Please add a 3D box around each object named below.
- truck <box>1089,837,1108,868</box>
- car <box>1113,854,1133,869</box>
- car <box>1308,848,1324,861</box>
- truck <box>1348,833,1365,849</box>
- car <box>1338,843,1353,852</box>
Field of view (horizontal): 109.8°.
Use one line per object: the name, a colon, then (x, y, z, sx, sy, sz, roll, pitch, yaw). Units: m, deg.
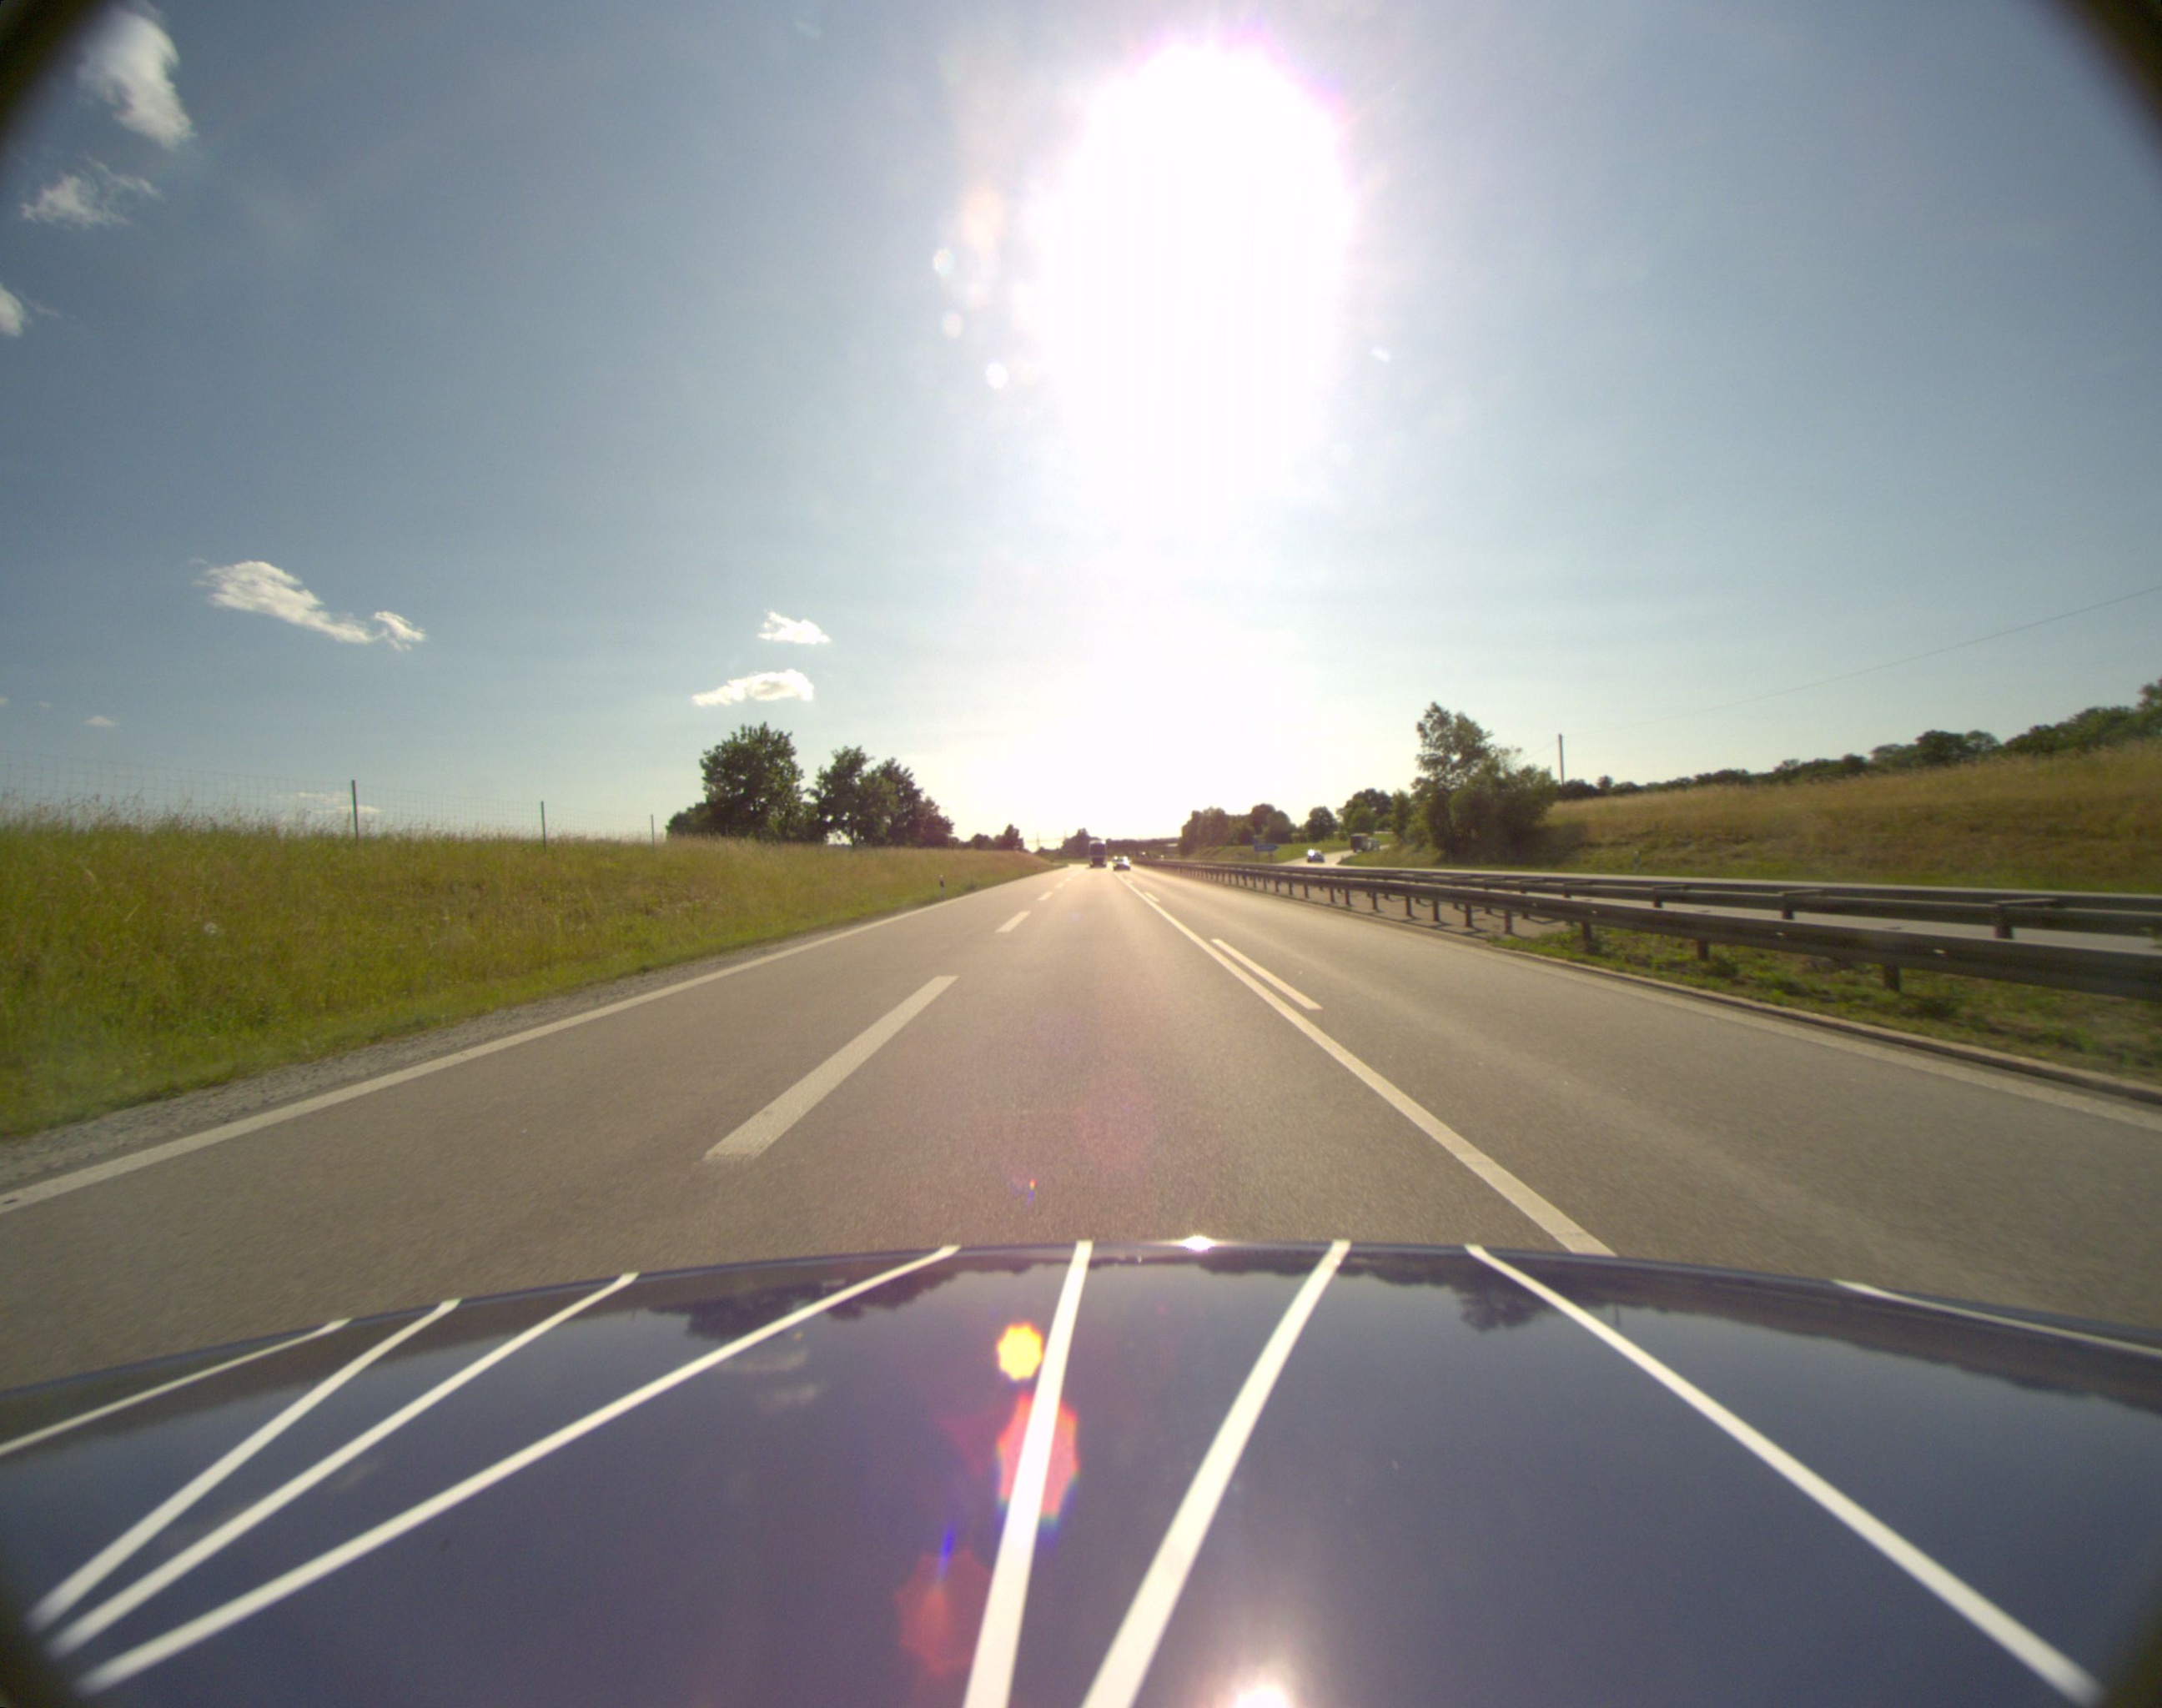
truck: (2.683, -0.277, 113.917, 2.536, 4.228, 11.265, -2, 1, 1)
car: (4.471, 0.790, 80.787, 1.870, 1.514, 4.284, -1, 0, 1)
car: (27.553, 0.024, 88.994, 1.669, 1.368, 4.005, -2, 1, 18)
truck: (43.634, -2.061, 120.106, 1.952, 2.398, 4.787, -2, 1, 26)
car: (44.574, -1.067, 128.090, 1.668, 1.368, 4.007, -2, 1, 30)
